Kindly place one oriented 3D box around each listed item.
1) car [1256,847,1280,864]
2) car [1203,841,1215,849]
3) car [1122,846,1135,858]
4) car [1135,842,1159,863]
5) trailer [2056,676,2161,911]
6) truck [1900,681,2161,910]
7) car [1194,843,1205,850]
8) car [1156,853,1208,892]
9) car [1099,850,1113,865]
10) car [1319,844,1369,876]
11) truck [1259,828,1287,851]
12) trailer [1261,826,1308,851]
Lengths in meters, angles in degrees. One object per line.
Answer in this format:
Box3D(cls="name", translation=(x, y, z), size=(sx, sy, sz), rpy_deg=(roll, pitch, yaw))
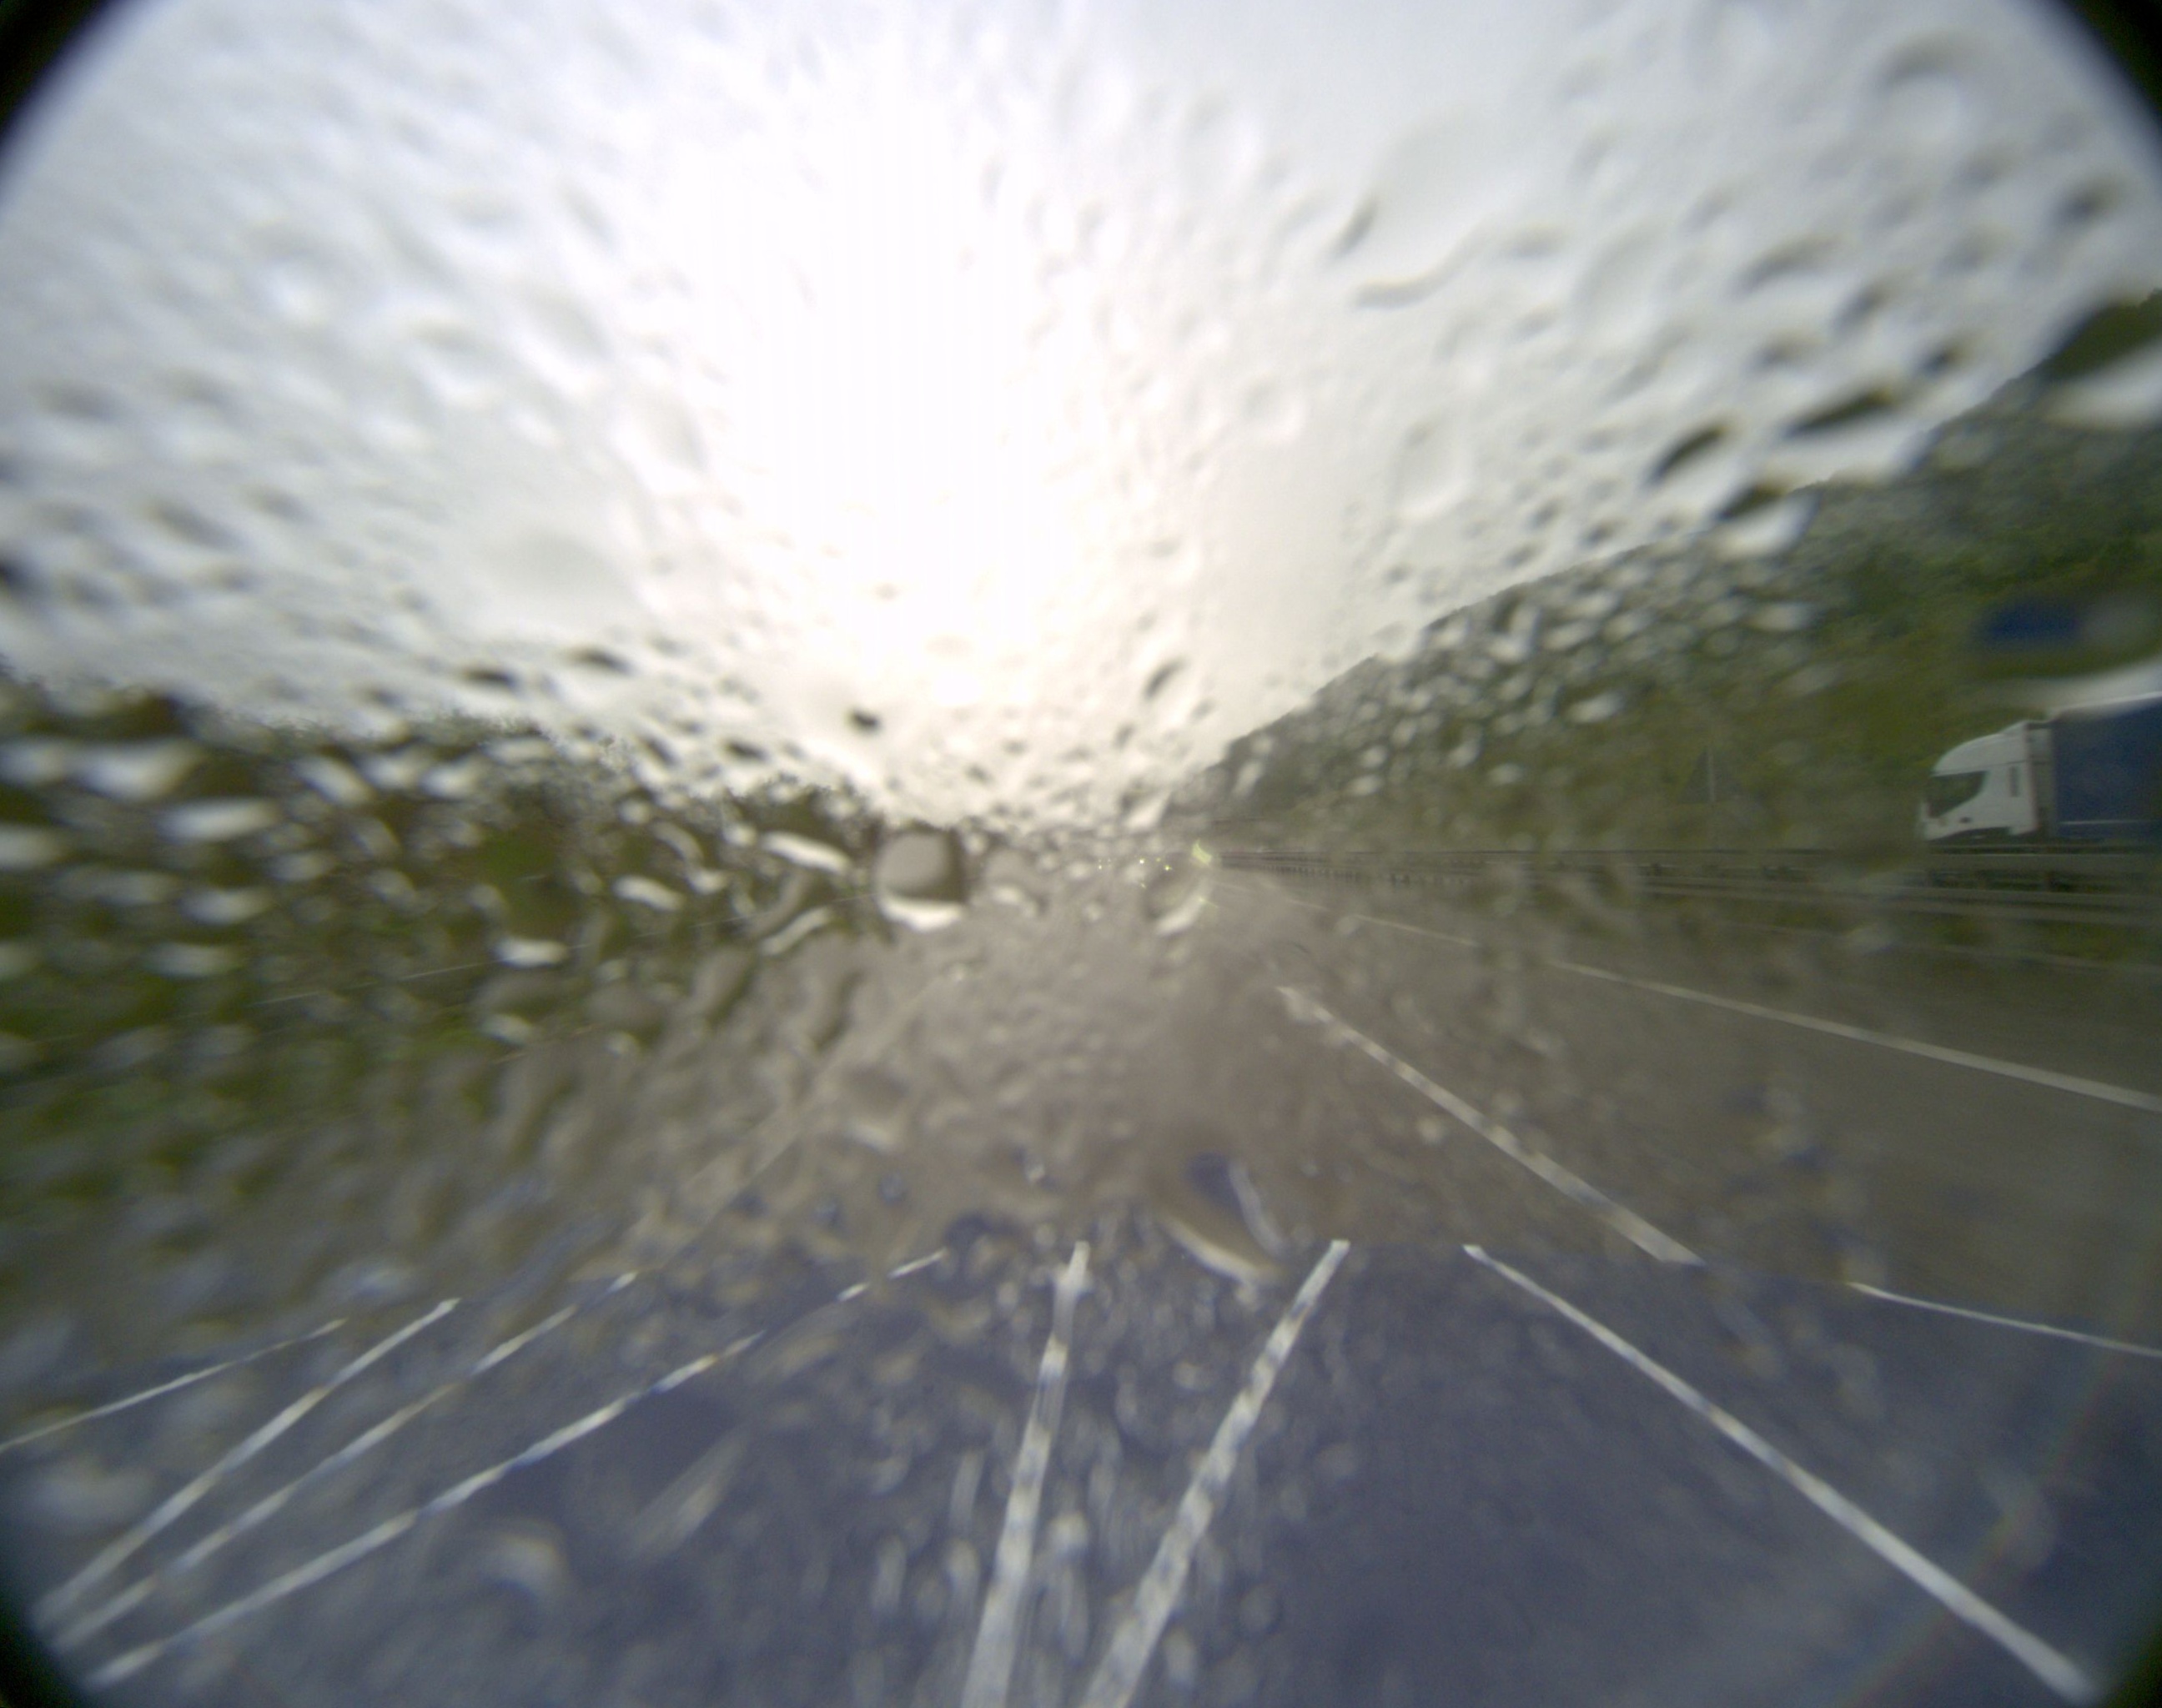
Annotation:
Box3D(cls="car", translation=(22.922, 0.138, 93.261), size=(1.998, 2.002, 4.000), rpy_deg=(-2, 0, 1))
Box3D(cls="car", translation=(33.137, -2.438, 197.312), size=(2.393, 2.002, 4.705), rpy_deg=(-2, 1, 2))
Box3D(cls="car", translation=(8.221, -0.313, 132.276), size=(1.998, 2.002, 4.000), rpy_deg=(-2, 0, 0))
Box3D(cls="car", translation=(5.796, -0.160, 66.869), size=(1.814, 1.692, 3.749), rpy_deg=(-2, 1, 2))
Box3D(cls="trailer", translation=(23.280, -1.239, 10.103), size=(2.743, 4.758, 14.042), rpy_deg=(-2, 0, 1))
Box3D(cls="truck", translation=(23.314, -1.237, 17.784), size=(2.696, 4.645, 5.155), rpy_deg=(-2, 1, 1))
Box3D(cls="car", translation=(33.147, -2.122, 212.970), size=(2.393, 2.002, 4.705), rpy_deg=(-2, 1, 2))
Box3D(cls="car", translation=(4.788, 0.838, 36.611), size=(1.998, 1.673, 4.909), rpy_deg=(0, 1, 1))
Box3D(cls="car", translation=(3.533, 0.538, 108.849), size=(1.835, 2.002, 3.938), rpy_deg=(-2, 1, 2))
Box3D(cls="car", translation=(17.418, 0.356, 50.498), size=(1.998, 2.002, 4.000), rpy_deg=(-2, 0, 1))
Box3D(cls="truck", translation=(27.305, -2.038, 108.276), size=(2.814, 2.981, 5.517), rpy_deg=(-2, 0, 2))
Box3D(cls="trailer", translation=(26.989, -1.932, 101.524), size=(2.820, 3.035, 14.901), rpy_deg=(-2, 0, 3))
